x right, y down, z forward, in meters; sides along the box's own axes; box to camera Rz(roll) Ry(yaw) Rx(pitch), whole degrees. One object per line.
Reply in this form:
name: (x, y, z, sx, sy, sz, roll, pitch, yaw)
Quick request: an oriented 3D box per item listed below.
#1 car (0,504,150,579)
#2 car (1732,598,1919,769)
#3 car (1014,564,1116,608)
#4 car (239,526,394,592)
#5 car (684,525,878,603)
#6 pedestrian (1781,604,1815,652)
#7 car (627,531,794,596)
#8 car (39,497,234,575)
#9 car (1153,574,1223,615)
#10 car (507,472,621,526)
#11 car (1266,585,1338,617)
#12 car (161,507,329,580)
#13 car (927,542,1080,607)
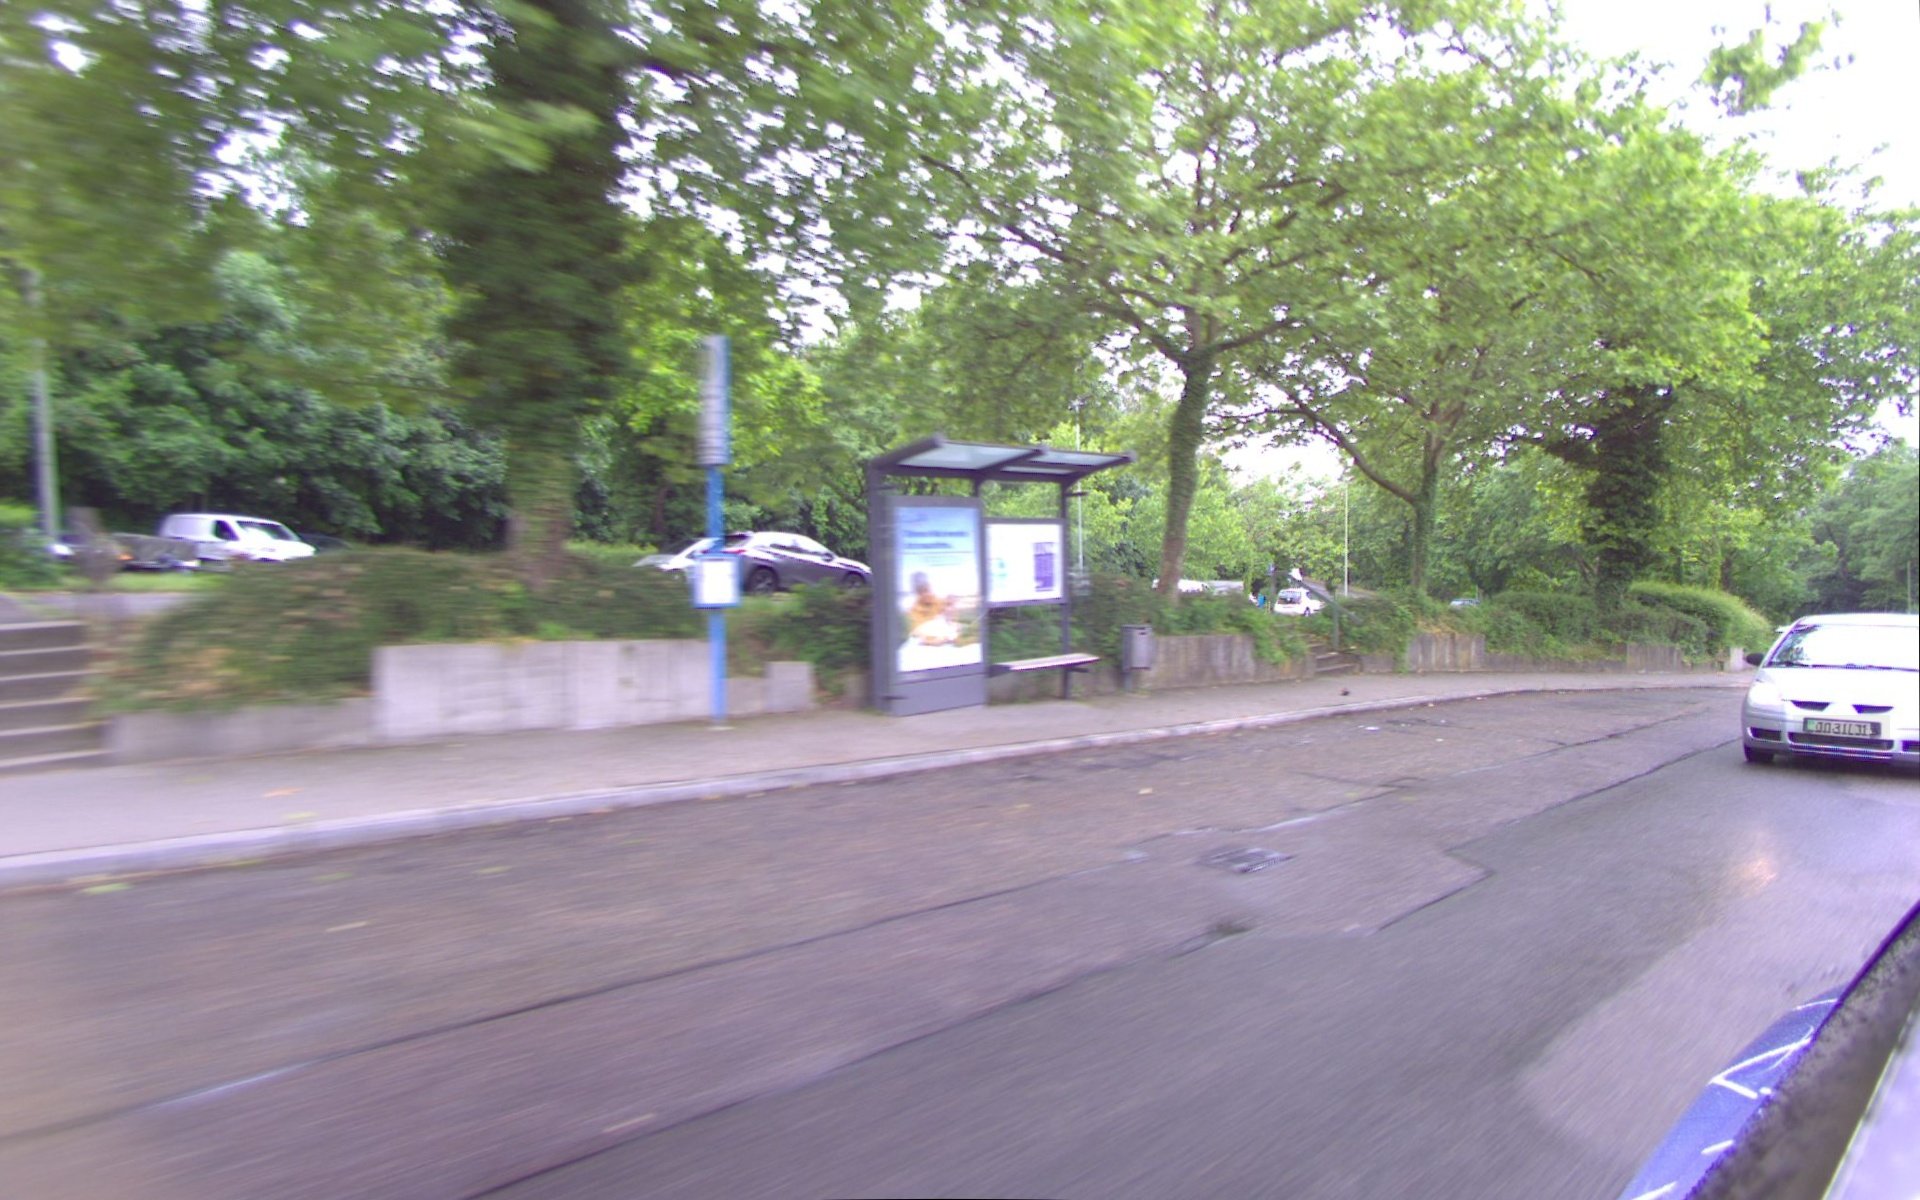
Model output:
car: (-21.175, -1.291, 23.413, 4.123, 1.497, 1.793, 0, -2, 18)
car: (9.793, 0.805, 10.687, 3.926, 1.524, 1.640, 2, -2, -38)
car: (4.155, -0.496, 39.729, 1.894, 1.472, 4.104, -2, -3, 44)
car: (-19.320, -1.186, 30.392, 4.128, 1.793, 1.791, 0, -2, 21)
car: (-4.074, -0.754, 23.476, 4.102, 1.472, 1.895, 3, -3, -45)
pedestrian: (34.315, 1.137, 41.437, 1.050, 1.917, 1.117, 1, 1, 40)
car: (-6.824, -0.939, 27.967, 4.102, 1.472, 1.895, 3, -3, -45)
car: (-20.624, -1.554, 25.381, 4.123, 1.687, 1.793, 0, -2, 18)
car: (12.377, -0.274, 54.791, 1.702, 2.040, 4.283, -2, -3, 44)
car: (-15.915, -4.005, 40.685, 4.128, 1.793, 1.791, 0, -2, 21)
car: (17.230, 0.091, 50.963, 1.894, 1.472, 4.104, -2, -3, 44)
car: (-19.820, -1.508, 28.071, 4.128, 1.793, 1.791, 0, -2, 21)
car: (1.225, -0.611, 27.021, 1.894, 1.472, 4.104, -2, -3, 44)
